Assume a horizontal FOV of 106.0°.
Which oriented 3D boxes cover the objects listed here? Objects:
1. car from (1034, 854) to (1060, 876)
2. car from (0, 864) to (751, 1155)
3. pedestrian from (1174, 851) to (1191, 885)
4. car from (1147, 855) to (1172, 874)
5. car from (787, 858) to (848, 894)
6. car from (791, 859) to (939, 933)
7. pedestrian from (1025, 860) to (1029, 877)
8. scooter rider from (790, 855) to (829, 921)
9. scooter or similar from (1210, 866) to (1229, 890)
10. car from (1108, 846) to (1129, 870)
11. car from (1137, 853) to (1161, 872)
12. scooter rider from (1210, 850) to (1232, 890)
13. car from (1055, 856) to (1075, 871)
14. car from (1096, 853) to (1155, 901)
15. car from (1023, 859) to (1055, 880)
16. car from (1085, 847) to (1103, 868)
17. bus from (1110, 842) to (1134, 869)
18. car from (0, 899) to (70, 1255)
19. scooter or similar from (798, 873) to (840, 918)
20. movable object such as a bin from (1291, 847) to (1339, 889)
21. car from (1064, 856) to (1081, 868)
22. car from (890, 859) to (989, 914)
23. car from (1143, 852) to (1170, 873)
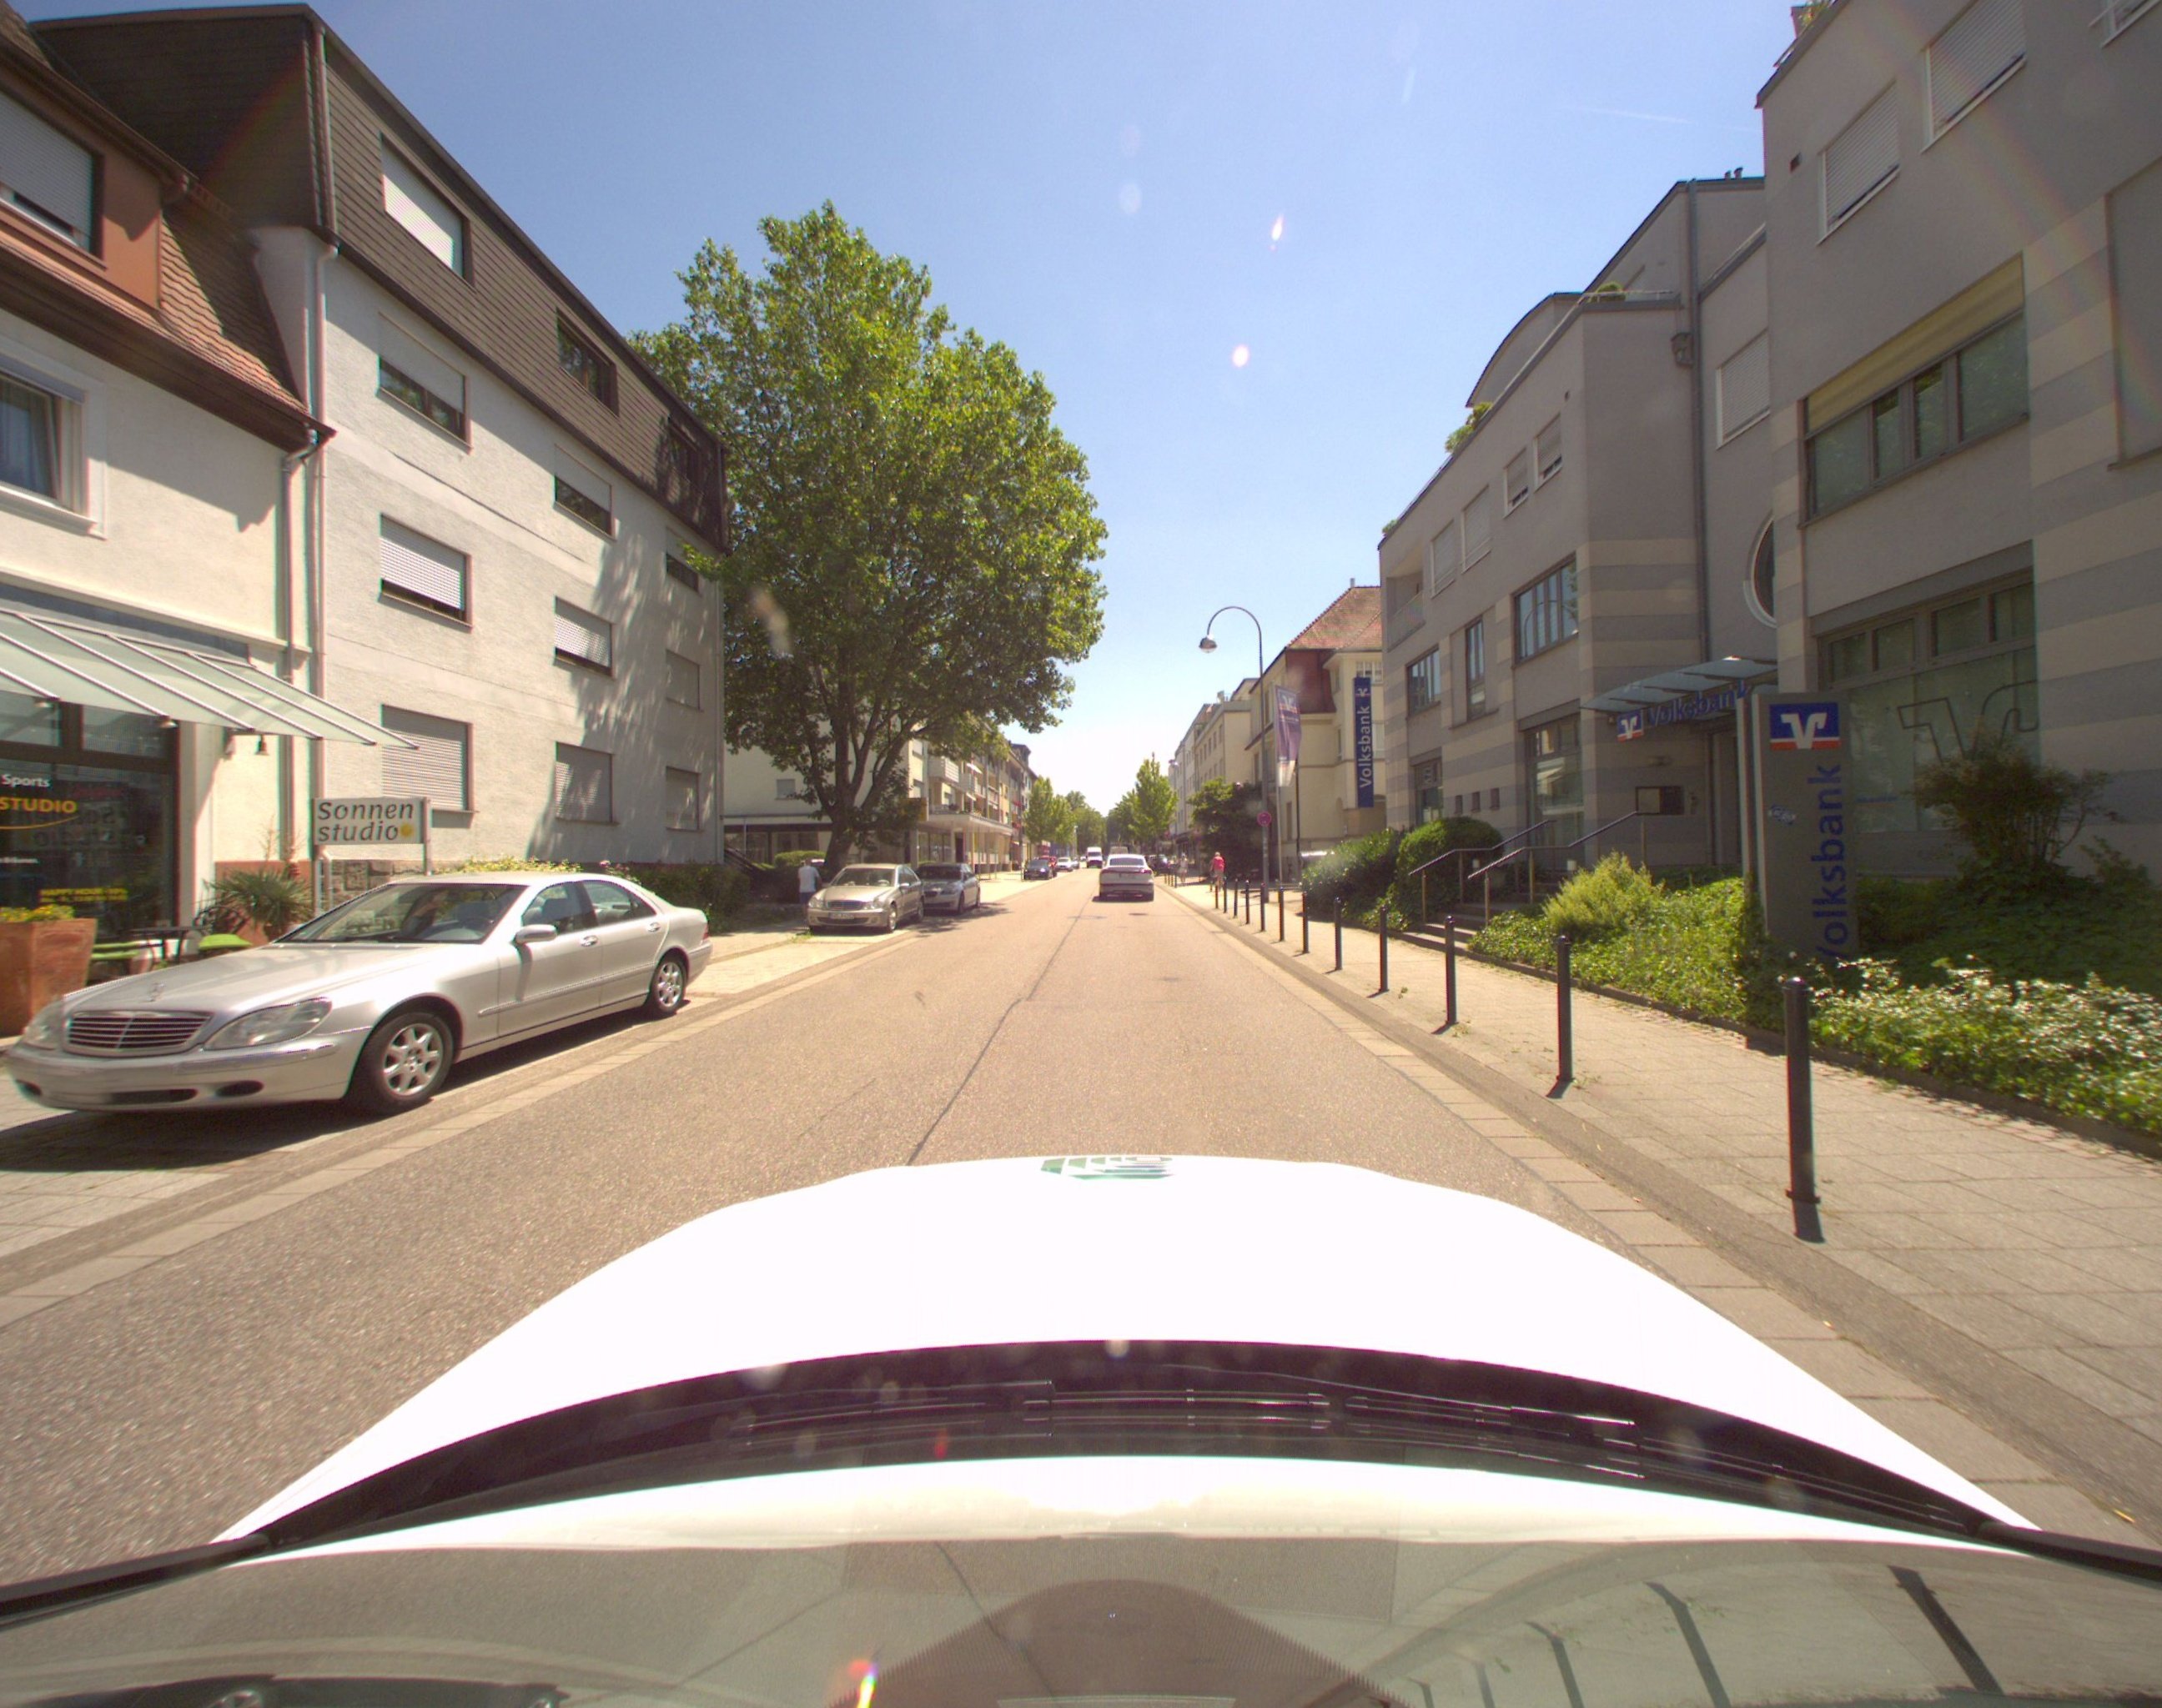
[{"bbox_3d":[-2.712,0.896,66.085,1.746,1.702,4.103,1,0,2],"label":"car"},{"bbox_3d":[-5.004,0.841,6.927,1.973,1.452,5.361,0,0,3],"label":"car"},{"bbox_3d":[5.122,0.714,41.083,0.697,1.627,0.784,-4,-1,1],"label":"pedestrian"},{"bbox_3d":[6.409,0.824,66.523,1.888,1.438,4.549,-1,0,4],"label":"car"},{"bbox_3d":[-11.847,0.946,36.426,1.902,1.486,3.959,-1,0,-28],"label":"car"},{"bbox_3d":[-4.736,0.851,18.654,1.974,1.452,4.869,0,0,1],"label":"car"},{"bbox_3d":[-5.591,1.476,84.112,0.394,1.735,0.444,-1,-1,-9],"label":"pedestrian"},{"bbox_3d":[-6.720,0.822,20.182,0.586,1.575,0.878,1,0,3],"label":"scooter rider"},{"bbox_3d":[5.736,0.990,33.717,0.661,0.963,0.754,-2,0,2],"label":"scooter or similar"},{"bbox_3d":[3.928,0.409,84.875,2.147,2.442,5.286,1,-1,3],"label":"car"},{"bbox_3d":[6.500,0.793,78.018,1.850,1.674,4.536,-3,0,0],"label":"car"},{"bbox_3d":[5.691,0.637,33.034,0.713,1.548,0.770,-2,0,0],"label":"scooter rider"},{"bbox_3d":[-1.750,1.031,89.390,1.745,1.618,4.405,1,0,3],"label":"car"},{"bbox_3d":[1.549,0.781,29.473,1.986,1.633,4.001,0,0,1],"label":"car"},{"bbox_3d":[-3.018,1.094,59.611,1.889,1.417,5.049,1,0,2],"label":"car"},{"bbox_3d":[1.717,0.453,106.876,2.029,2.630,7.110,-3,0,2],"label":"car"},{"bbox_3d":[5.128,0.201,100.153,2.648,3.221,7.310,1,-1,5],"label":"bus"},{"bbox_3d":[-5.288,0.876,0.860,1.934,1.373,5.101,-1,0,3],"label":"car"},{"bbox_3d":[-6.679,1.041,20.802,0.660,1.098,1.029,1,0,4],"label":"scooter or similar"},{"bbox_3d":[8.797,0.526,30.701,1.362,1.458,1.382,-4,-1,4],"label":"movable object such as a bin"},{"bbox_3d":[-0.988,1.011,100.244,1.744,1.453,4.405,1,0,4],"label":"car"},{"bbox_3d":[-4.100,0.904,24.536,1.974,1.452,5.152,0,0,1],"label":"car"},{"bbox_3d":[6.707,0.753,72.662,1.890,1.674,4.690,-3,0,0],"label":"car"}]
